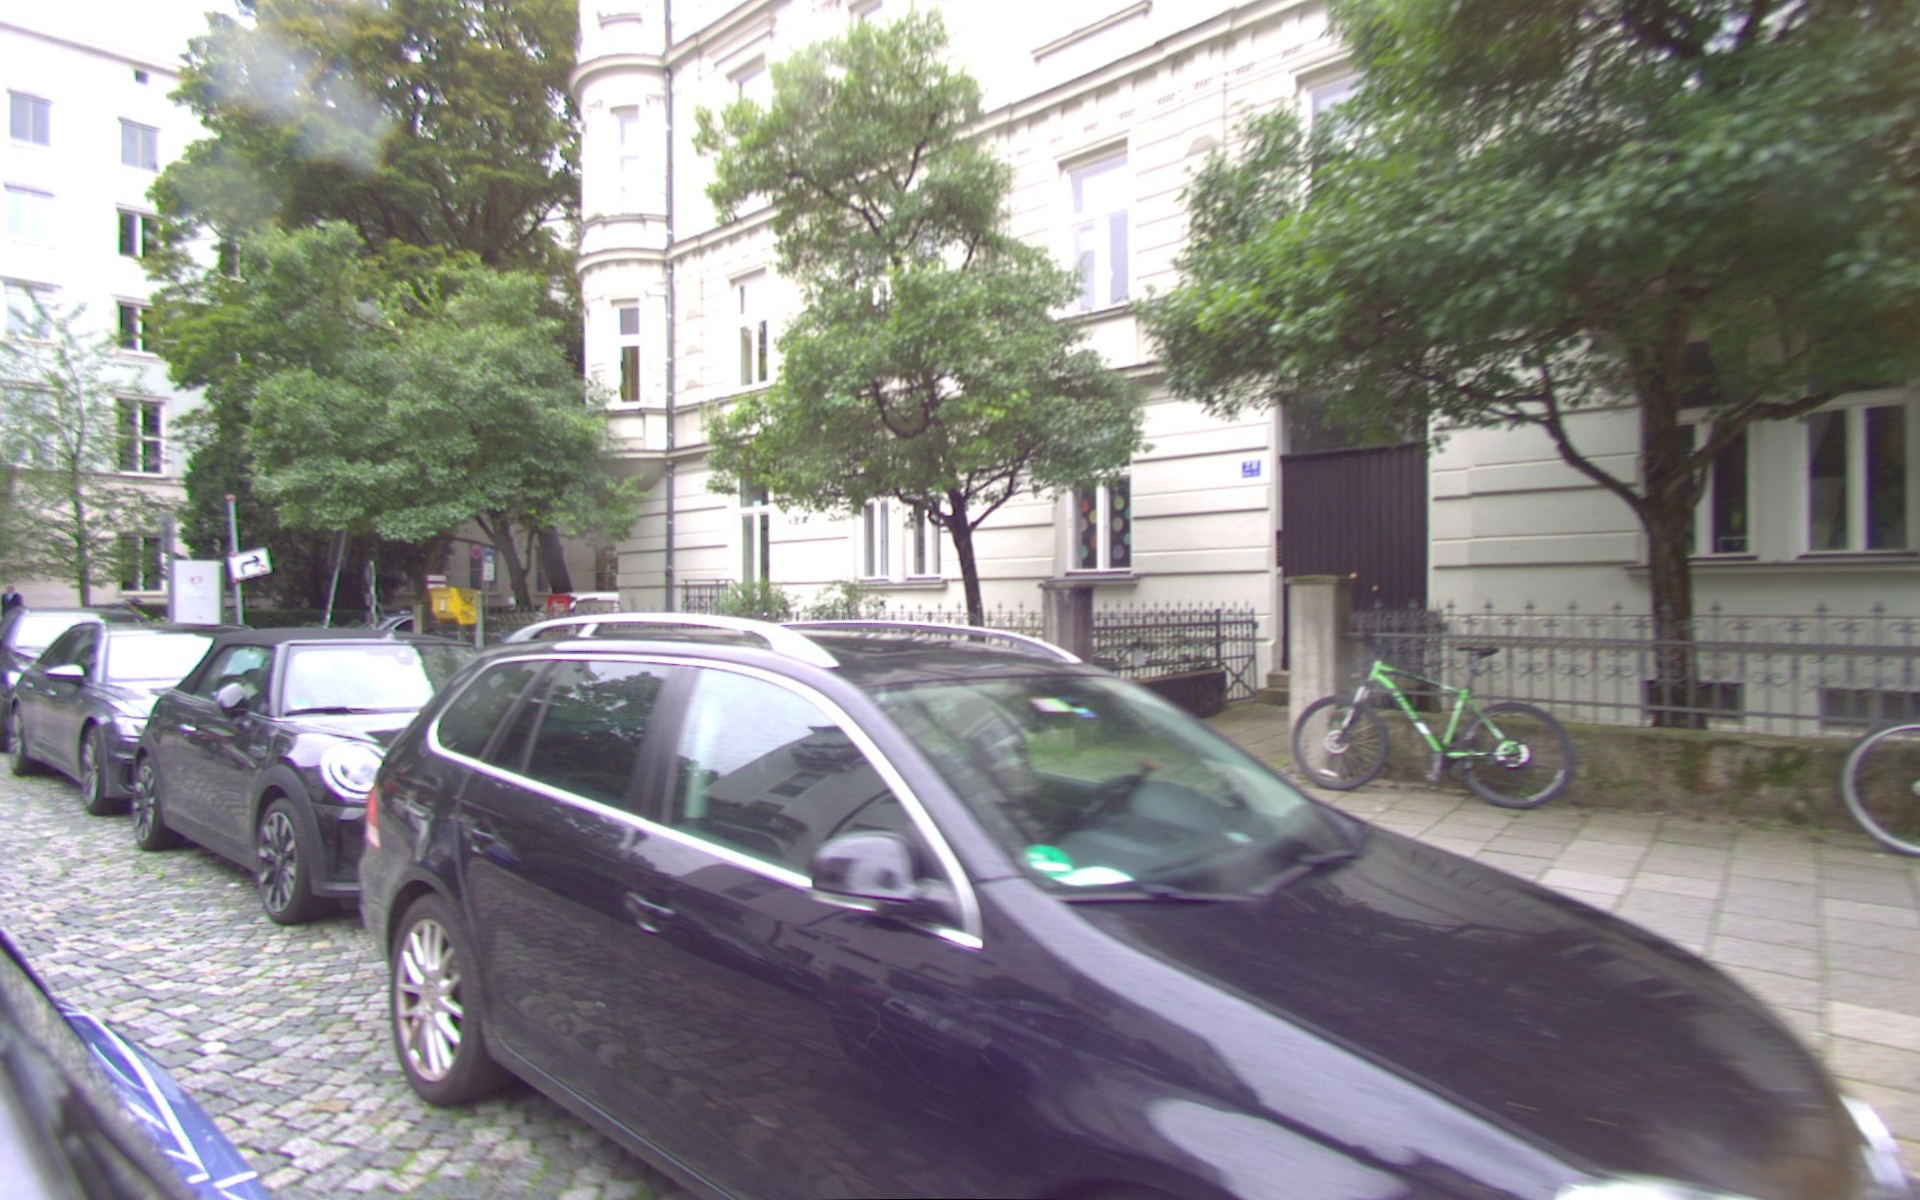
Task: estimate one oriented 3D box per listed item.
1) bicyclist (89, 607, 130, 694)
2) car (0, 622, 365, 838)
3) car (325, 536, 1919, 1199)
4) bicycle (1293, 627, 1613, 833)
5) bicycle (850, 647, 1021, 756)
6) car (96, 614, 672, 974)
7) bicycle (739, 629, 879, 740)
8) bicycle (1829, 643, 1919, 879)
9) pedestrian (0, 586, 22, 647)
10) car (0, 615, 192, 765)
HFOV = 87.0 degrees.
[{"bbox_3d":[-17.081,1.002,20.321,0.445,1.704,0.537,-1,-2,41],"label":"bicyclist"},{"bbox_3d":[-7.210,0.965,9.114,4.275,1.510,1.723,-1,-2,38],"label":"car"},{"bbox_3d":[-0.019,0.754,2.759,4.510,1.510,1.790,-1,-2,43],"label":"car"},{"bbox_3d":[3.155,0.768,6.598,1.789,1.132,0.504,0,2,41],"label":"bicycle"},{"bbox_3d":[-0.270,0.930,9.660,1.789,0.879,0.434,0,2,41],"label":"bicycle"},{"bbox_3d":[-3.737,0.866,6.260,4.129,1.510,1.722,-1,-2,39],"label":"car"},{"bbox_3d":[-1.644,0.861,10.822,1.694,1.059,0.458,0,2,41],"label":"bicycle"},{"bbox_3d":[5.212,0.787,4.688,1.789,1.107,0.429,0,2,41],"label":"bicycle"},{"bbox_3d":[-30.916,0.528,32.815,0.656,1.930,0.864,-2,1,-41],"label":"pedestrian"},{"bbox_3d":[-11.293,1.001,12.693,4.278,1.594,1.722,-1,-2,40],"label":"car"}]
